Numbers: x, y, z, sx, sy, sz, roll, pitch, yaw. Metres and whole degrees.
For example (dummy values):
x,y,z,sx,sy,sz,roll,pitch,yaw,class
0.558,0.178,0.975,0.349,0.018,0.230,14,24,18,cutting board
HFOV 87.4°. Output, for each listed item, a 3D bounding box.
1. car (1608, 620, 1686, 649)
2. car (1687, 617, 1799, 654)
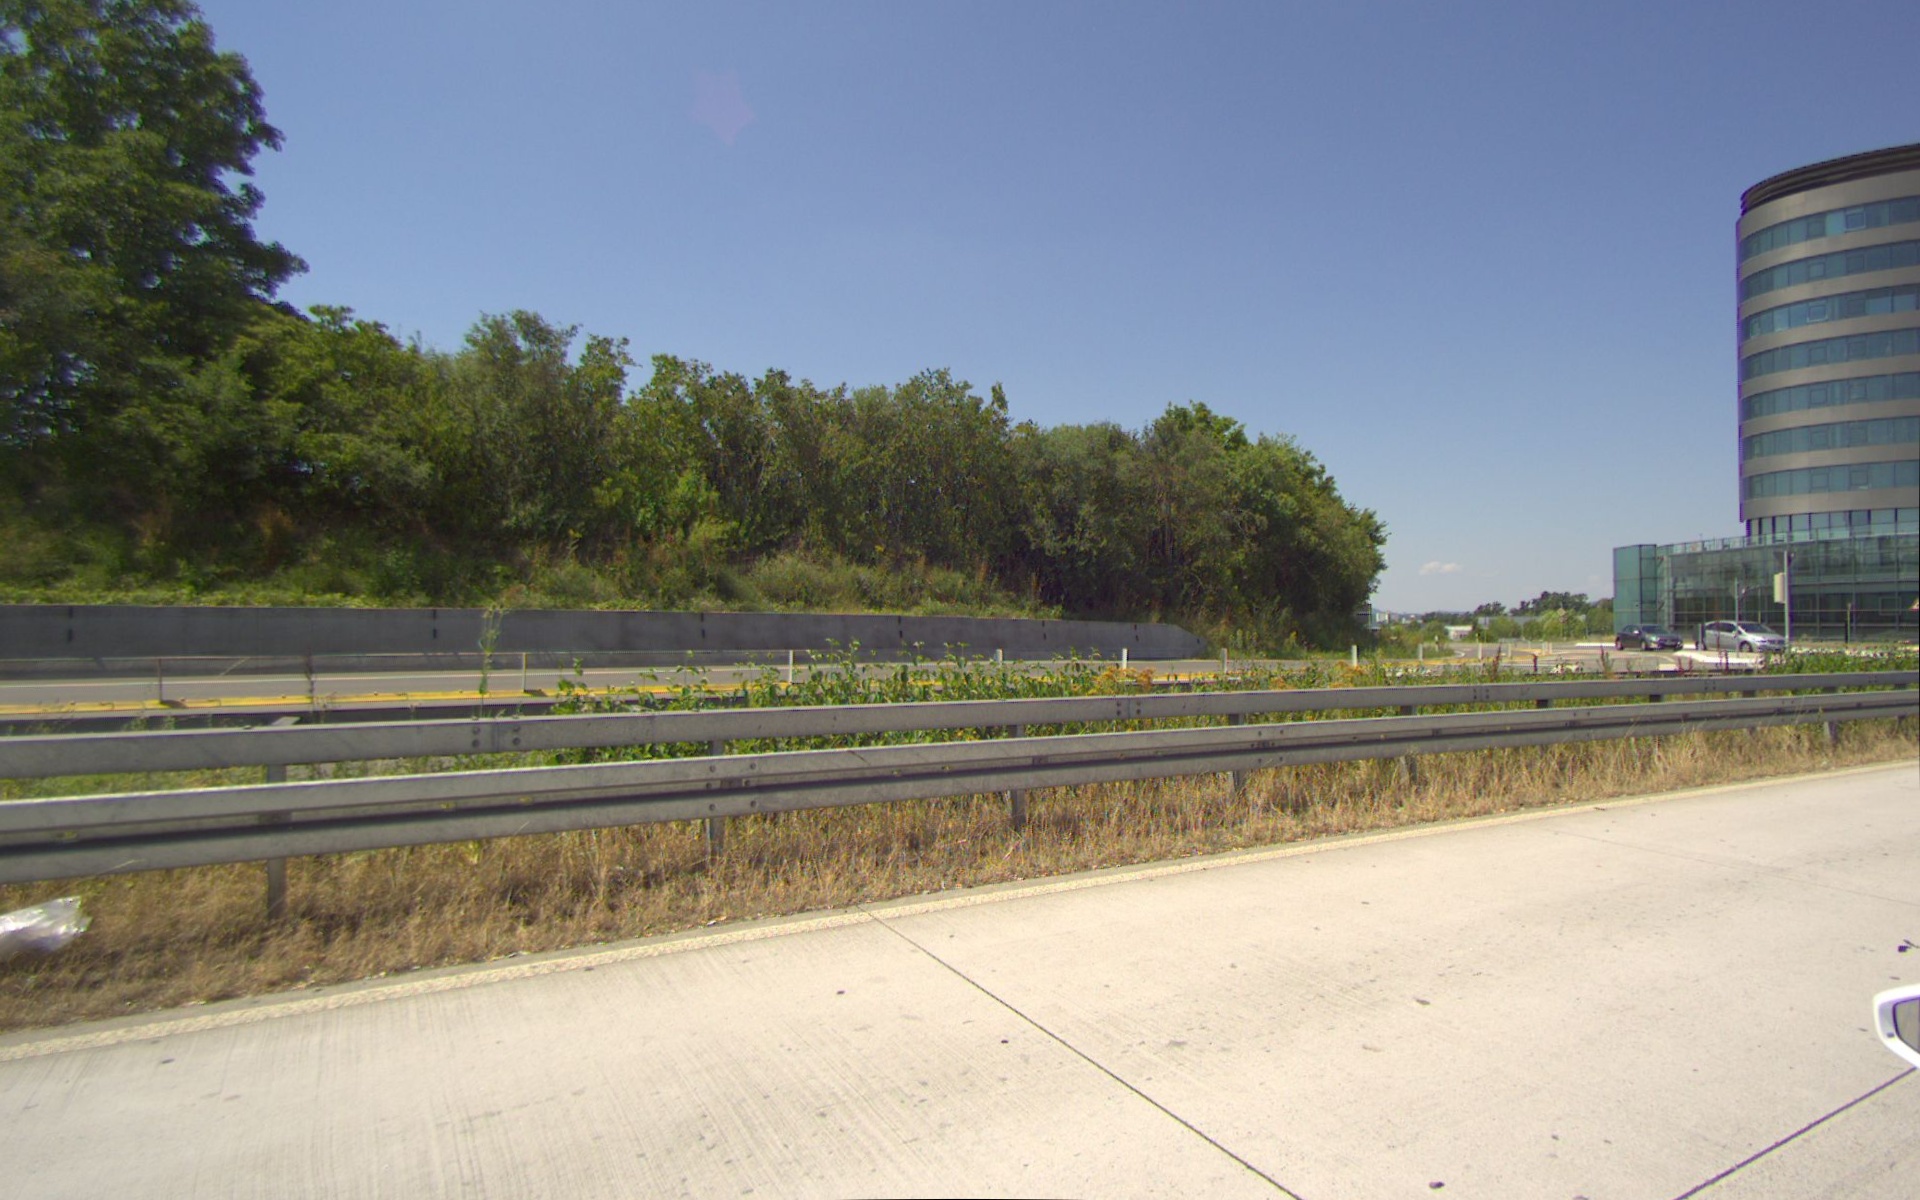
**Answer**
x,y,z,sx,sy,sz,roll,pitch,yaw,class
37.273,1.903,54.607,1.663,1.475,4.333,2,-2,6,car
36.490,1.670,46.972,1.742,1.616,4.329,2,-2,-2,car
